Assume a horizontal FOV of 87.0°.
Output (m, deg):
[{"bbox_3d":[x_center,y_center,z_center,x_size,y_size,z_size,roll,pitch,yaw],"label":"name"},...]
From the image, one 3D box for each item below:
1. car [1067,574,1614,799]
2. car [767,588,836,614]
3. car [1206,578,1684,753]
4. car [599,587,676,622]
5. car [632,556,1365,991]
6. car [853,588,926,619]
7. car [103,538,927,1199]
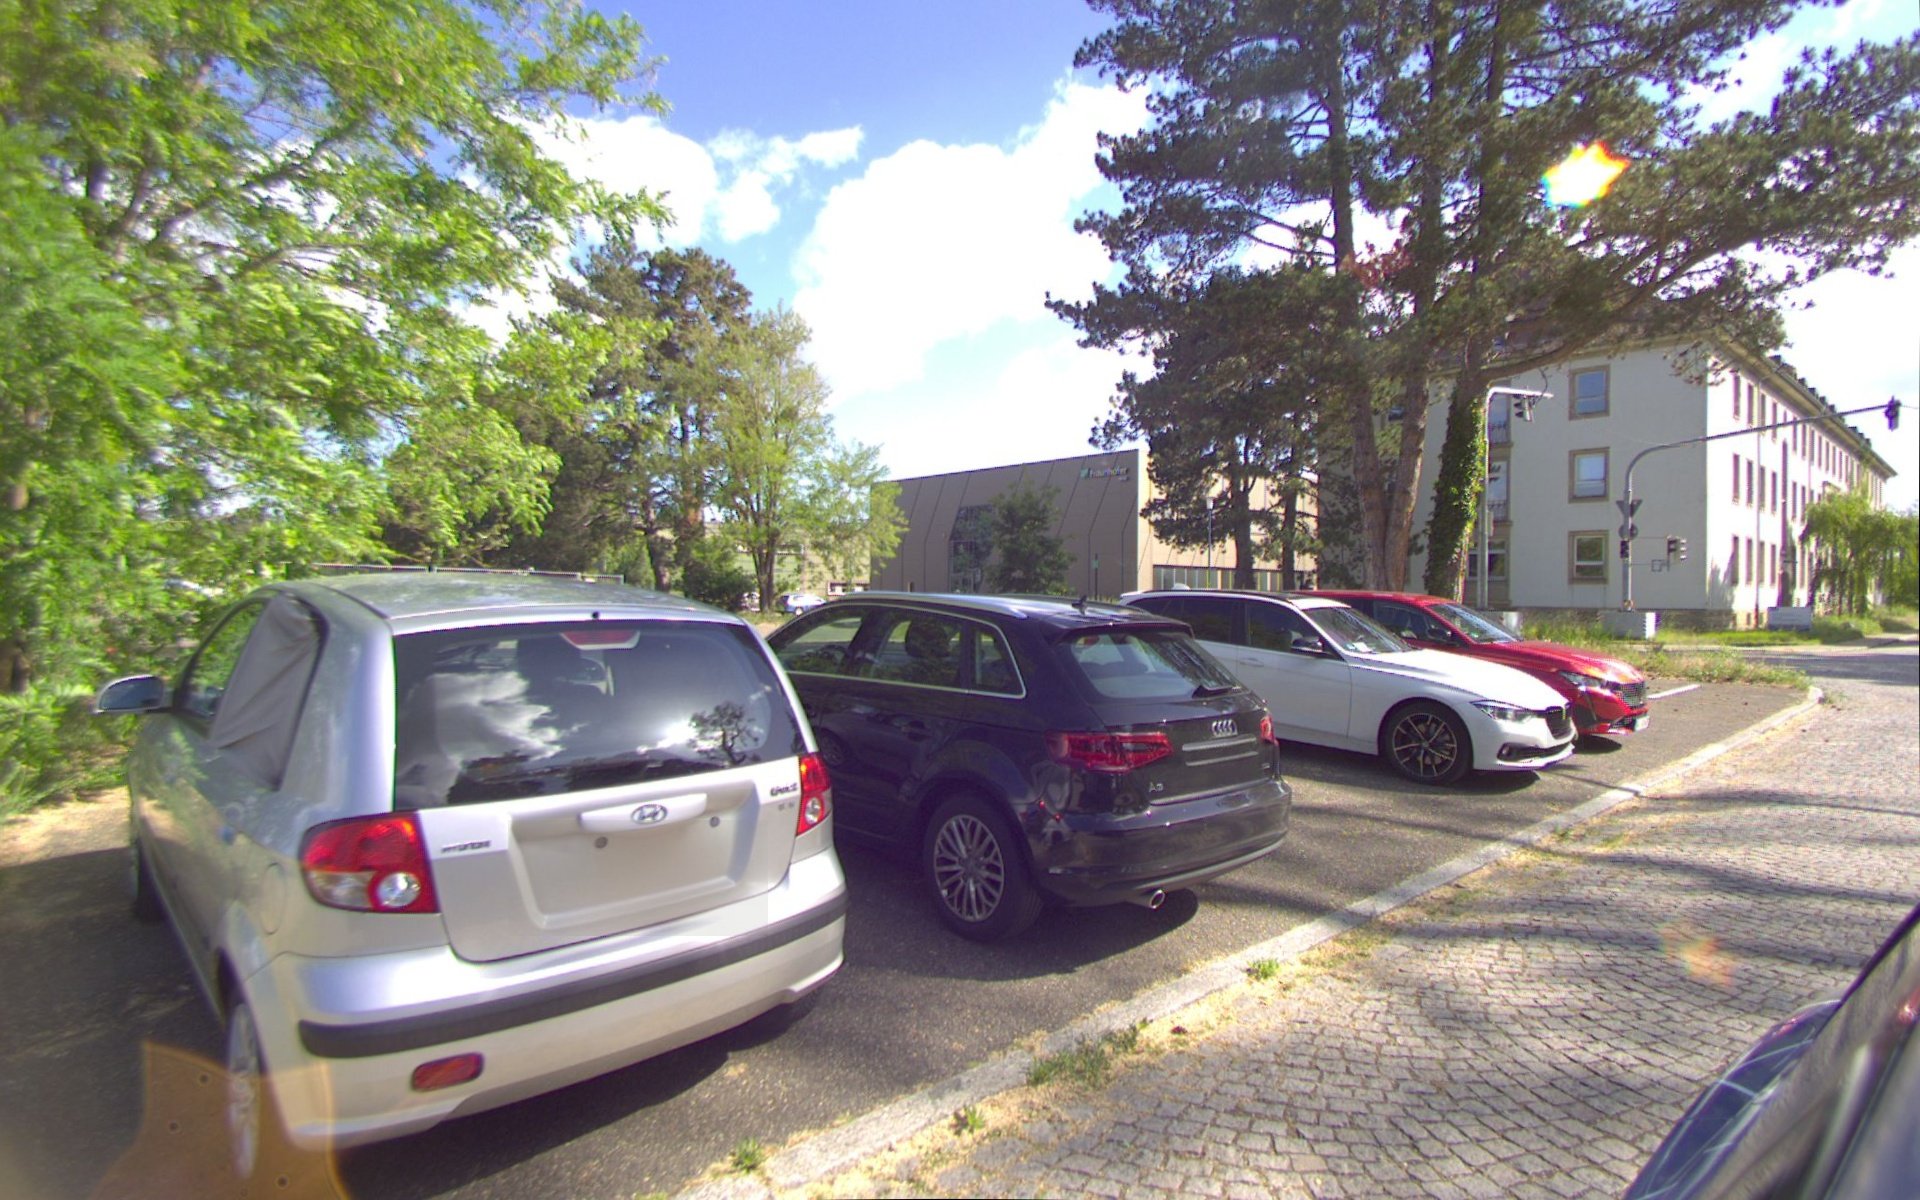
[{"bbox_3d":[3.347,0.584,9.623,1.809,1.482,4.517,0,3,-44],"label":"car"},{"bbox_3d":[-10.535,0.081,67.389,4.154,1.584,1.857,0,-3,-43],"label":"car"},{"bbox_3d":[5.304,0.557,11.584,1.862,1.438,4.544,0,3,-43],"label":"car"},{"bbox_3d":[-14.133,0.181,44.215,1.715,1.440,3.992,2,-1,-42],"label":"car"},{"bbox_3d":[-0.090,0.570,5.747,1.813,1.458,4.010,1,3,-43],"label":"car"},{"bbox_3d":[-4.169,0.161,60.407,3.990,1.583,1.859,-4,3,-40],"label":"car"},{"bbox_3d":[-2.022,0.575,3.860,1.723,1.494,3.746,0,4,-43],"label":"car"}]
